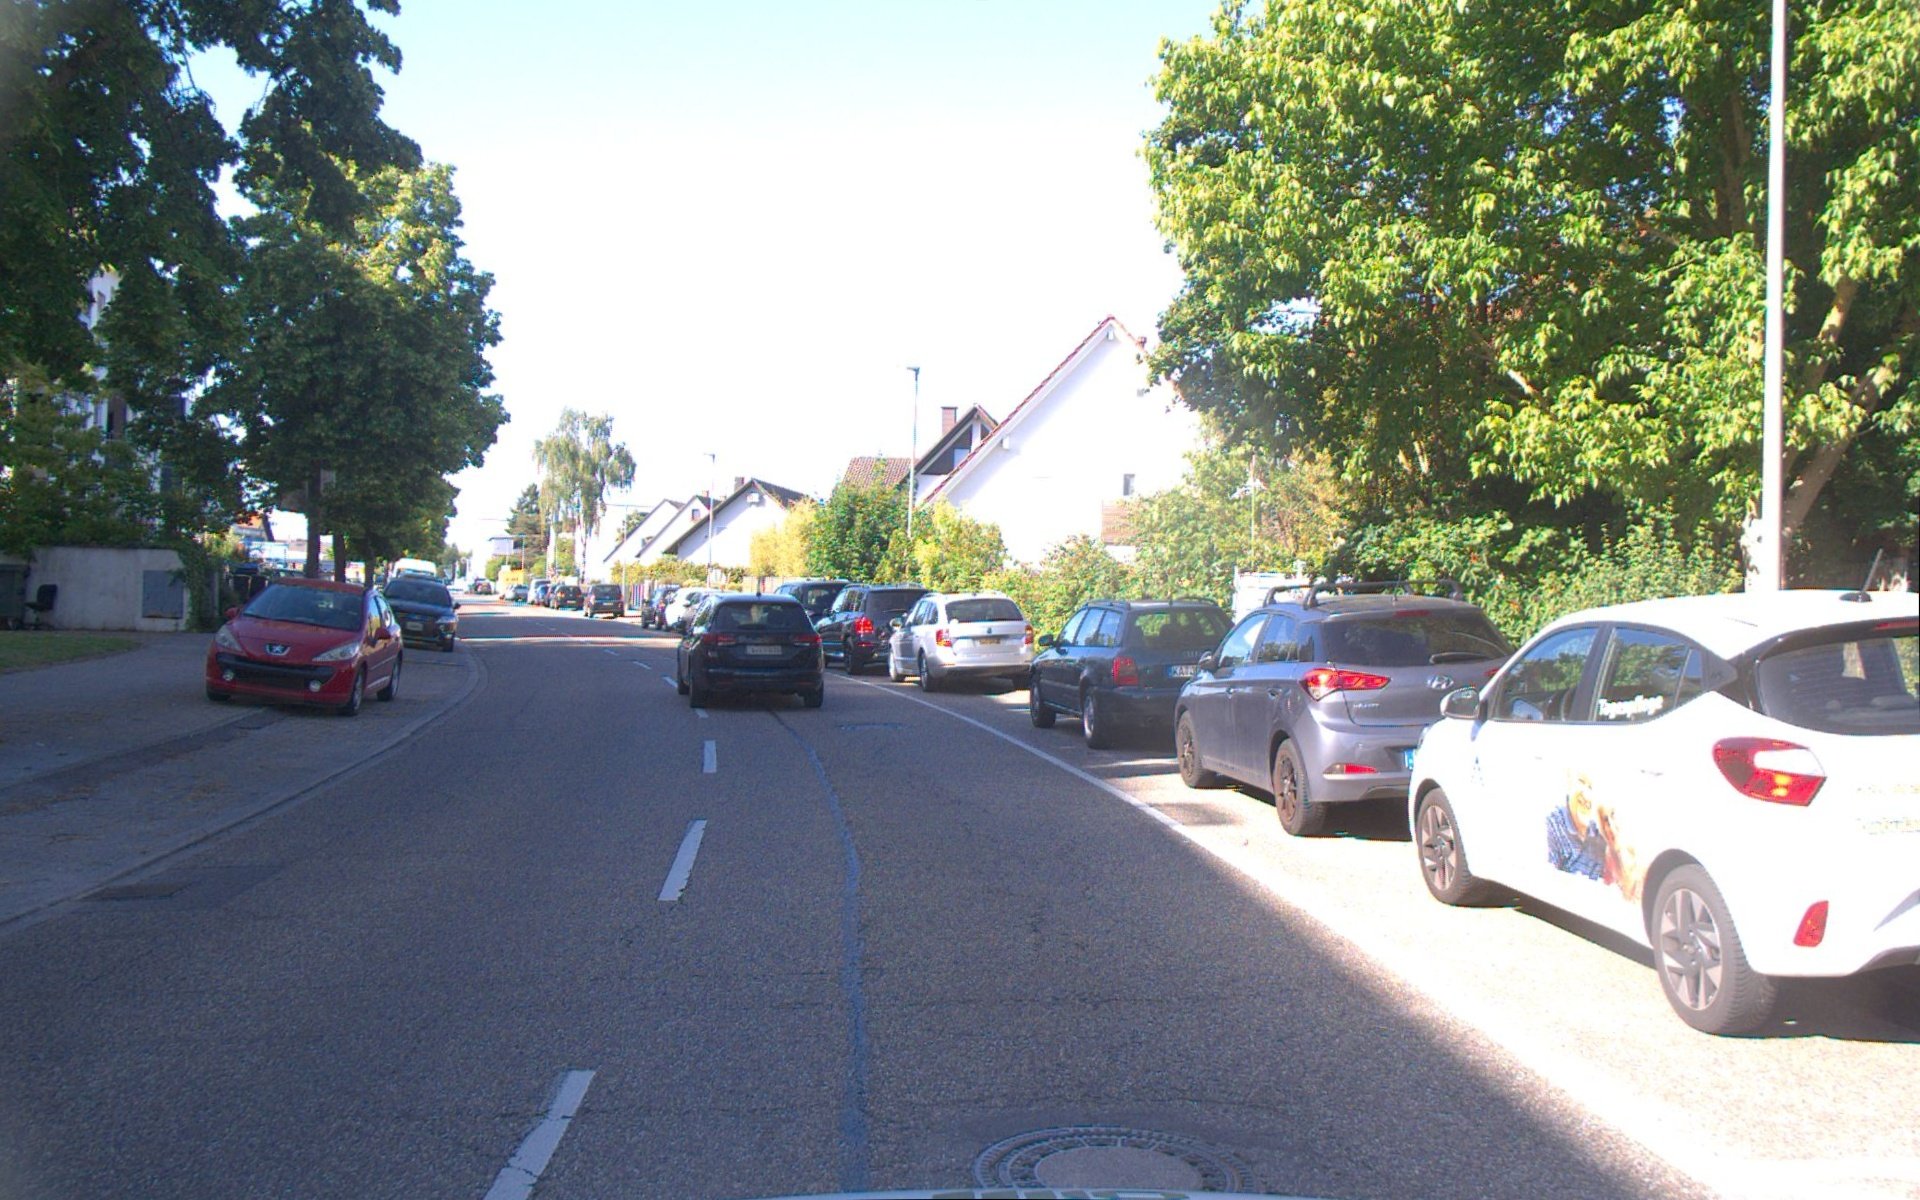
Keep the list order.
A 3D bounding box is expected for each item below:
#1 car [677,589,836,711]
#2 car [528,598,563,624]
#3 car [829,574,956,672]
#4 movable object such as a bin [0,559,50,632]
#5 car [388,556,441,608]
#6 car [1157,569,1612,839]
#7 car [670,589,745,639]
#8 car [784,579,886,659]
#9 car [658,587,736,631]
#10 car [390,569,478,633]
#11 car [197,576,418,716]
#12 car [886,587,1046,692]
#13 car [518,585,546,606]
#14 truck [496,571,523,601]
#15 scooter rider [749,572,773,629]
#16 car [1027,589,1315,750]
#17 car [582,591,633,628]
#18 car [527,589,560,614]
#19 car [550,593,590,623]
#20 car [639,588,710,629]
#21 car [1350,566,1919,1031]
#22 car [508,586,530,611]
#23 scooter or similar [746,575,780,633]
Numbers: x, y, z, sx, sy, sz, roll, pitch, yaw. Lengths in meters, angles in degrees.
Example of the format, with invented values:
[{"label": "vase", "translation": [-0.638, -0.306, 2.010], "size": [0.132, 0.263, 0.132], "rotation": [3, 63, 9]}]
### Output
[{"label": "car", "translation": [-2.895, 0.624, 22.822], "size": [1.731, 1.517, 4.276], "rotation": [1, 0, -13]}, {"label": "car", "translation": [-28.416, 0.761, 113.417], "size": [1.975, 1.754, 4.271], "rotation": [1, -1, -19]}, {"label": "car", "translation": [-1.389, 0.435, 32.234], "size": [1.969, 1.754, 4.285], "rotation": [1, -1, -9]}, {"label": "movable object such as a bin", "translation": [-19.730, -0.092, 33.957], "size": [1.489, 1.452, 1.085], "rotation": [1, -2, -9]}, {"label": "car", "translation": [-26.517, -0.881, 80.573], "size": [1.874, 2.206, 4.275], "rotation": [8, -1, -14]}, {"label": "car", "translation": [2.849, 0.632, 12.187], "size": [1.874, 1.628, 4.289], "rotation": [1, 0, -6]}, {"label": "car", "translation": [-7.720, 0.424, 50.269], "size": [1.883, 1.432, 4.279], "rotation": [1, -1, -13]}, {"label": "car", "translation": [-2.920, 0.424, 37.885], "size": [1.869, 1.695, 4.180], "rotation": [1, -1, -11]}, {"label": "car", "translation": [-9.066, 0.300, 56.783], "size": [1.888, 1.432, 4.269], "rotation": [1, -1, -20]}, {"label": "car", "translation": [-16.238, 0.021, 51.246], "size": [1.803, 1.657, 4.281], "rotation": [8, -1, -9]}, {"label": "car", "translation": [-8.029, 0.524, 20.740], "size": [1.658, 1.517, 4.281], "rotation": [3, 0, -10]}, {"label": "car", "translation": [0.006, 0.612, 26.921], "size": [1.788, 1.561, 4.247], "rotation": [1, -1, -11]}, {"label": "car", "translation": [-36.384, -0.368, 140.512], "size": [1.975, 1.754, 4.271], "rotation": [1, -1, -19]}, {"label": "truck", "translation": [-43.997, -1.314, 161.442], "size": [2.171, 2.645, 5.117], "rotation": [2, -2, -18]}, {"label": "scooter rider", "translation": [-7.246, 0.027, 60.281], "size": [0.675, 2.049, 0.816], "rotation": [2, -2, -18]}, {"label": "car", "translation": [2.087, 0.674, 17.698], "size": [1.968, 1.501, 4.286], "rotation": [1, -1, -8]}, {"label": "car", "translation": [-17.409, 0.470, 81.552], "size": [1.975, 1.754, 4.271], "rotation": [1, -1, -19]}, {"label": "car", "translation": [-29.942, 0.131, 118.836], "size": [1.975, 1.754, 4.271], "rotation": [1, -1, -19]}, {"label": "car", "translation": [-23.682, 0.486, 100.278], "size": [1.975, 1.754, 4.271], "rotation": [1, -1, -19]}, {"label": "car", "translation": [-10.568, 0.306, 61.081], "size": [1.888, 1.432, 4.269], "rotation": [1, -1, -20]}, {"label": "car", "translation": [3.331, 0.672, 7.591], "size": [1.726, 1.506, 4.289], "rotation": [1, -1, -5]}, {"label": "car", "translation": [-38.766, -0.147, 145.345], "size": [1.722, 2.049, 3.931], "rotation": [2, -2, -17]}, {"label": "scooter or similar", "translation": [-7.180, 0.171, 60.108], "size": [0.674, 2.049, 2.948], "rotation": [2, -2, -17]}]
